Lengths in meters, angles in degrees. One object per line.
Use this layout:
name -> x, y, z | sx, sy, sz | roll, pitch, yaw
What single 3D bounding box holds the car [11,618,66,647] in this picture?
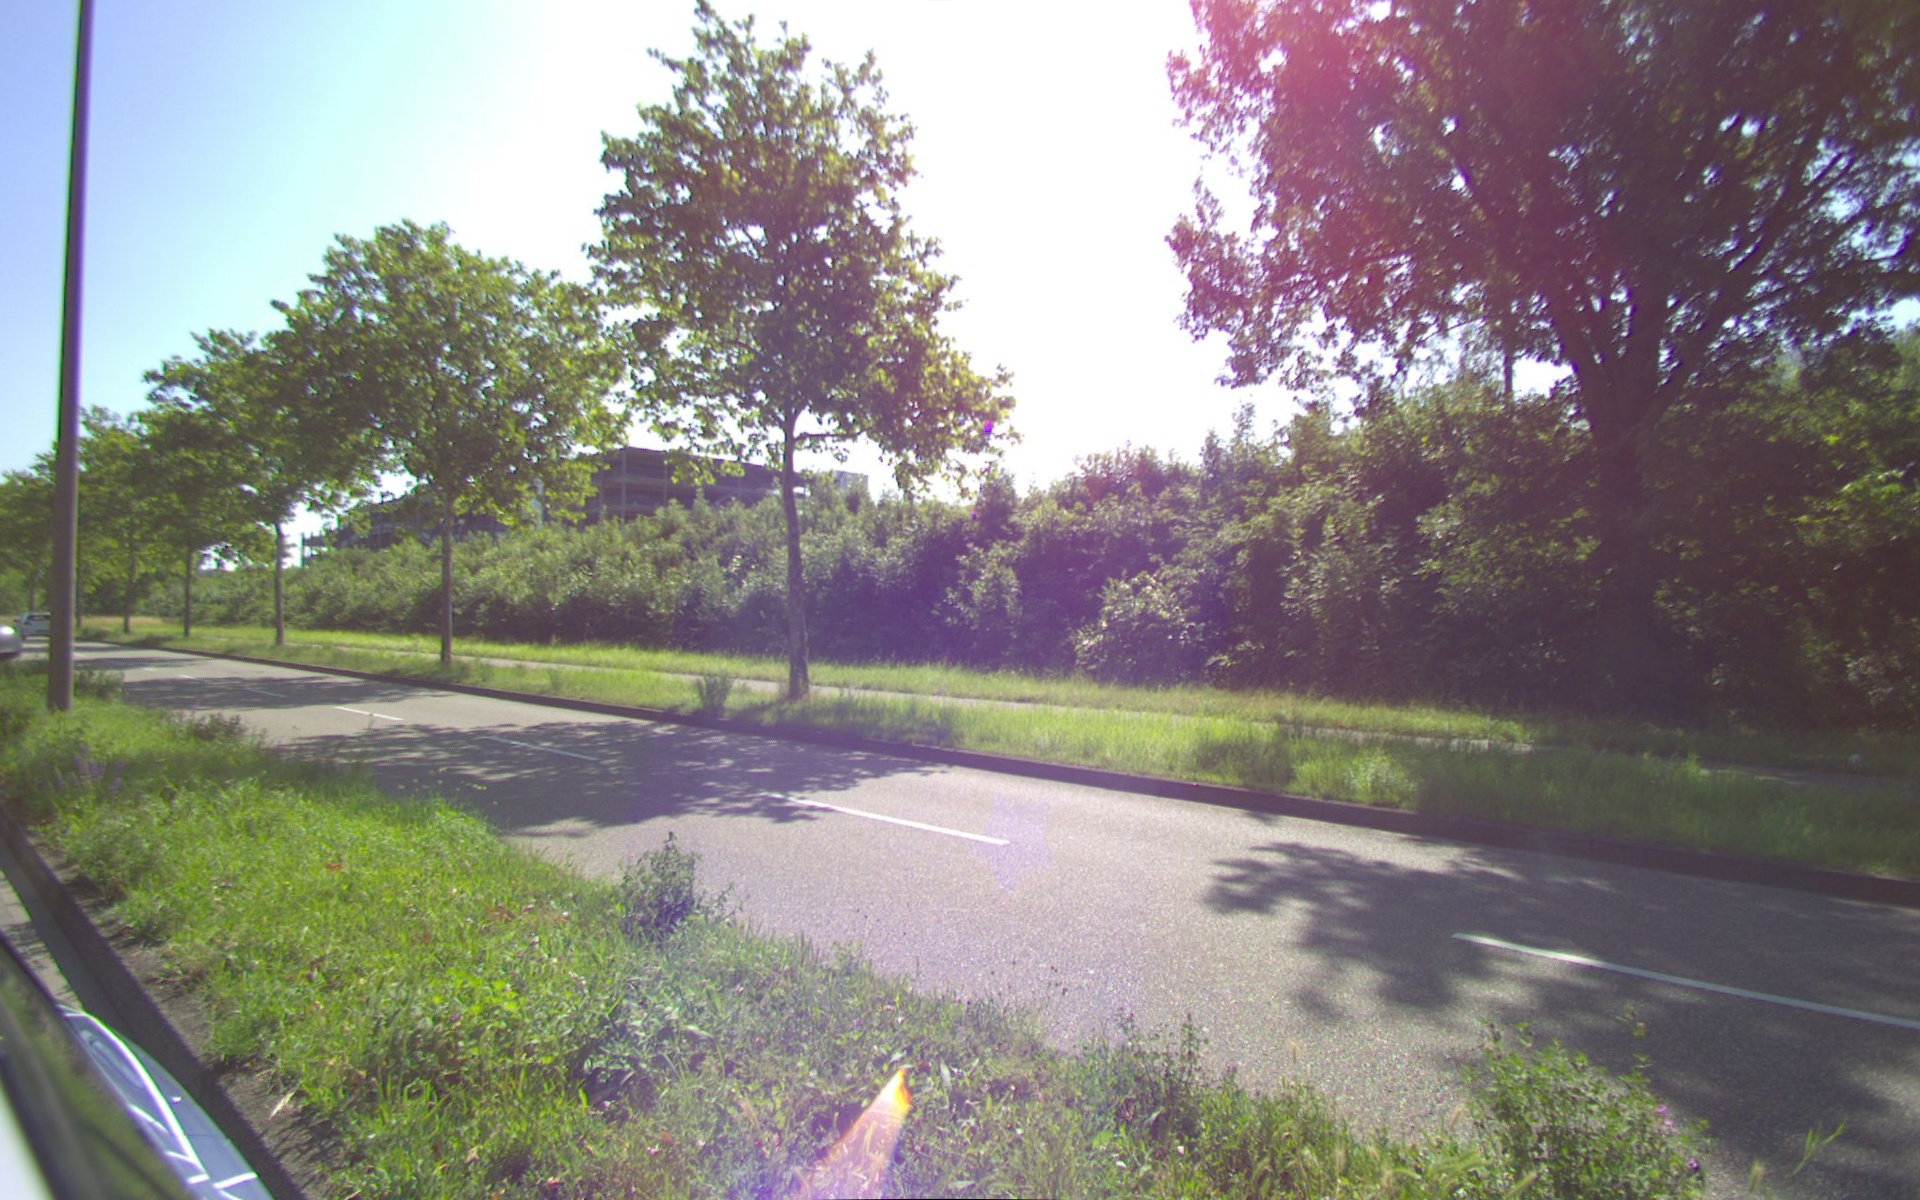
car -> -50.051, 1.737, 54.947 | 3.997, 1.519, 1.682 | -1, -3, 41
